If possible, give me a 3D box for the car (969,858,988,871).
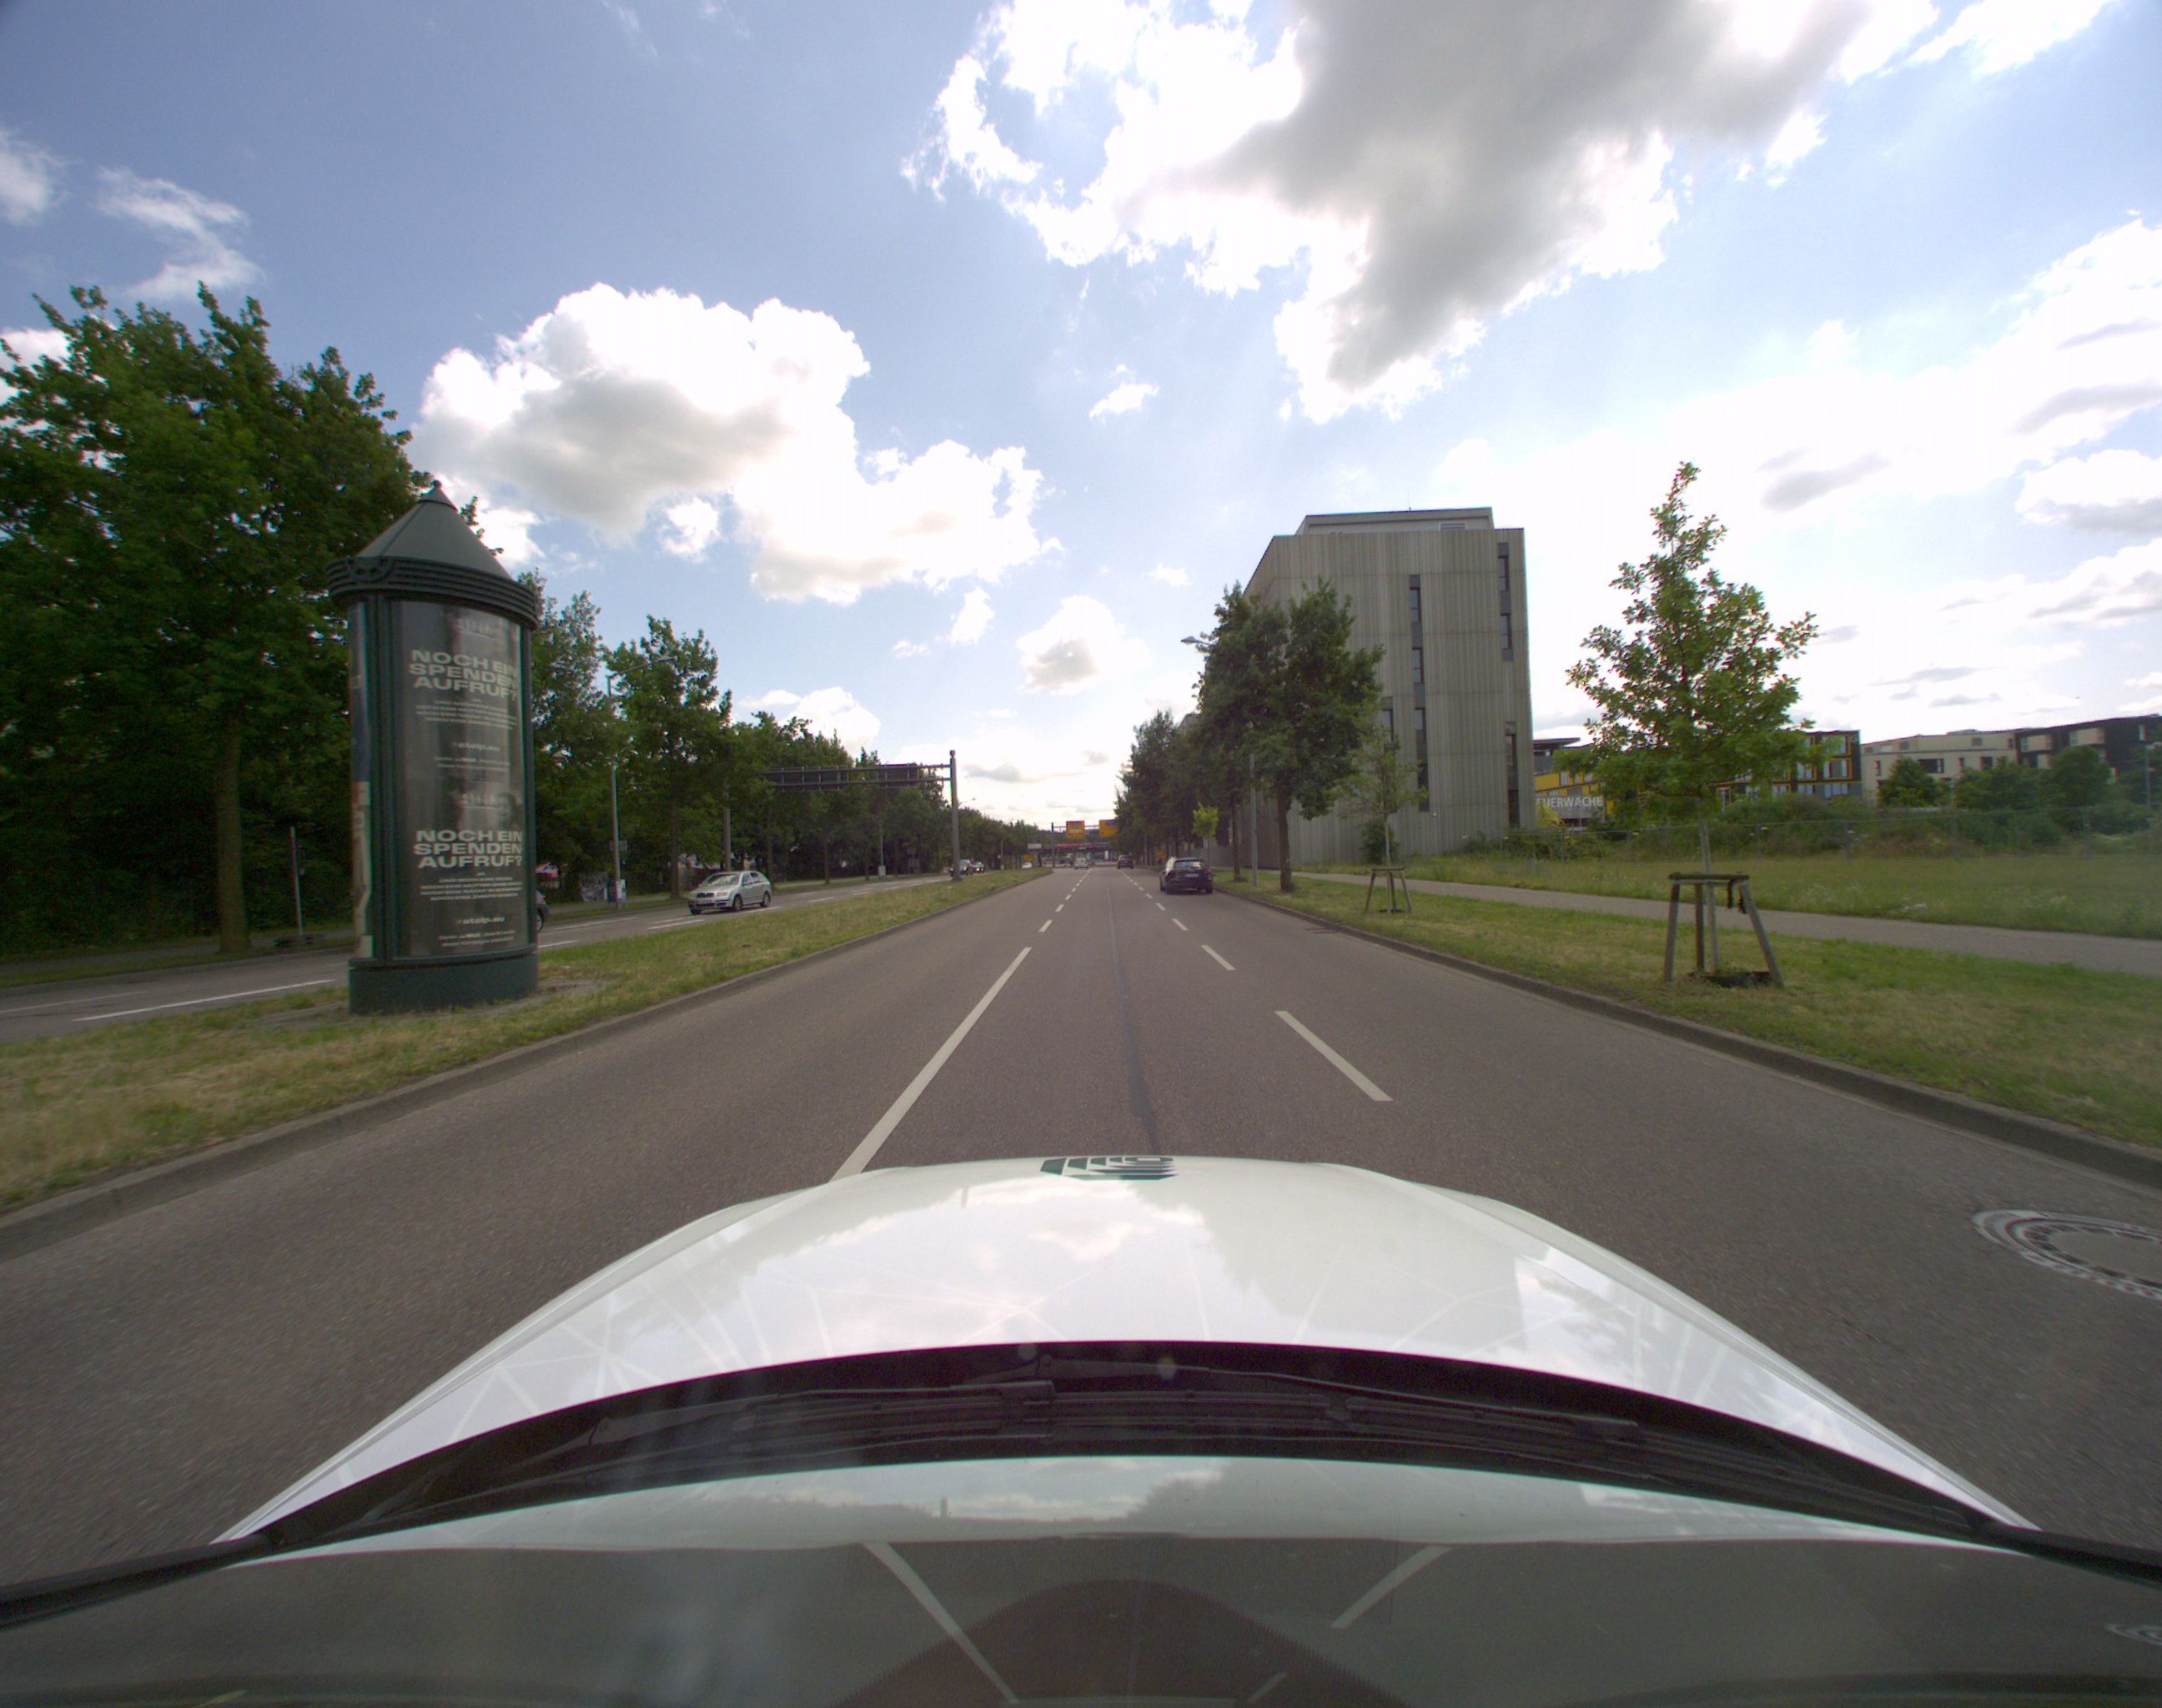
[{"bbox_3d":[-13.077,1.357,104.225,1.735,1.545,4.574,-3,0,1],"label":"car"}]

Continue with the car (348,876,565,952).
[{"bbox_3d":[-16.240,1.477,21.620,1.757,1.577,5.032,-3,0,1],"label":"car"}]

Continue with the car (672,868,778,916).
[{"bbox_3d":[-12.696,1.319,29.351,1.757,1.440,4.310,-3,0,1],"label":"car"}]

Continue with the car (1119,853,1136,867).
[{"bbox_3d":[5.560,0.696,97.137,1.985,1.626,4.314,-2,0,4],"label":"car"}]

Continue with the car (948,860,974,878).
[{"bbox_3d":[-11.729,1.475,79.958,1.735,1.569,4.276,-3,0,0],"label":"car"}]

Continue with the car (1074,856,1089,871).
[{"bbox_3d":[0.047,1.280,108.397,1.988,2.014,3.998,-1,-1,-1],"label":"car"}]

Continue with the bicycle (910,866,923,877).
[{"bbox_3d":[-19.218,2.070,95.247,0.804,1.226,2.503,-2,-1,2],"label":"bicycle"}]

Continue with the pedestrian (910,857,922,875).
[{"bbox_3d":[-19.249,1.419,95.079,0.966,2.013,1.250,-6,-1,3],"label":"pedestrian"}]

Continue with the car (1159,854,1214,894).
[{"bbox_3d":[4.128,0.777,32.425,1.678,1.463,3.999,-1,-1,0],"label":"car"}]
